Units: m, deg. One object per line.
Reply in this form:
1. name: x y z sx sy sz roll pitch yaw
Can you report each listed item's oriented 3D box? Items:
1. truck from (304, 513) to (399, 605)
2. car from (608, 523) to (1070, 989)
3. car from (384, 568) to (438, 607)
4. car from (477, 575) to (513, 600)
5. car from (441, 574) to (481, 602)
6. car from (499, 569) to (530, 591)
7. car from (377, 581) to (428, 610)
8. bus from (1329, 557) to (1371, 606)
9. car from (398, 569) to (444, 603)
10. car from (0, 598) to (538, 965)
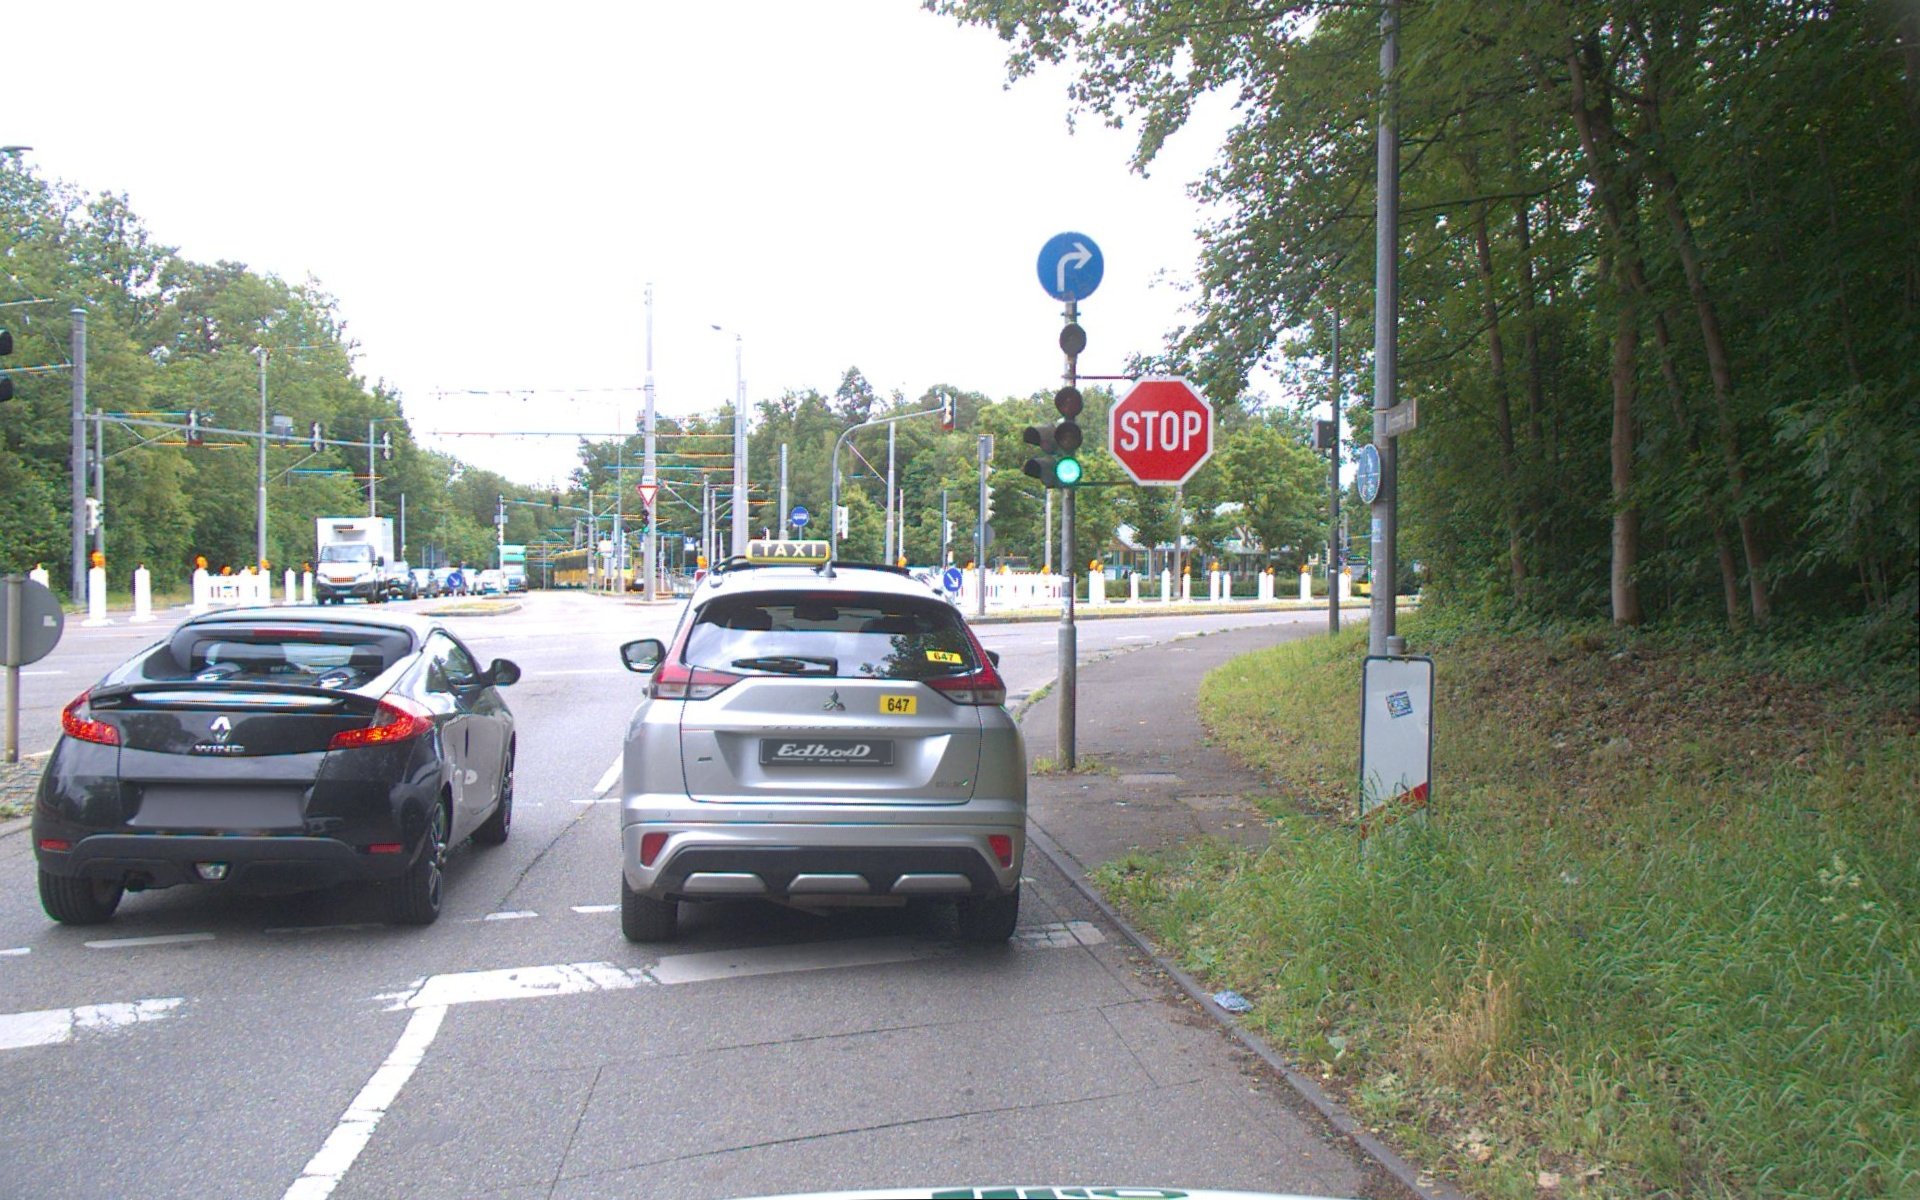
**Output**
1. truck: -22.957 -1.509 62.684 2.406 3.280 7.132 -1 1 -13
2. car: -0.625 0.596 8.302 1.739 1.778 3.776 2 0 -5
3. car: -25.571 -0.594 77.124 1.928 1.780 4.830 0 1 -13
4. car: -29.680 -0.831 105.584 1.927 1.568 4.383 0 1 -12
5. car: -30.052 -0.765 99.662 1.927 1.635 4.297 0 1 -12
6. car: -32.002 -1.471 118.900 1.927 1.567 4.297 0 1 -12
7. car: -28.425 -0.257 84.465 1.927 1.385 4.676 0 1 -12
8. bus: 30.973 -1.530 131.734 2.761 3.666 12.816 0 1 11
9. car: -29.940 -0.796 92.004 1.927 1.877 4.676 0 1 -12
10. car: -3.257 0.713 8.334 1.740 1.385 3.471 -1 1 -7
